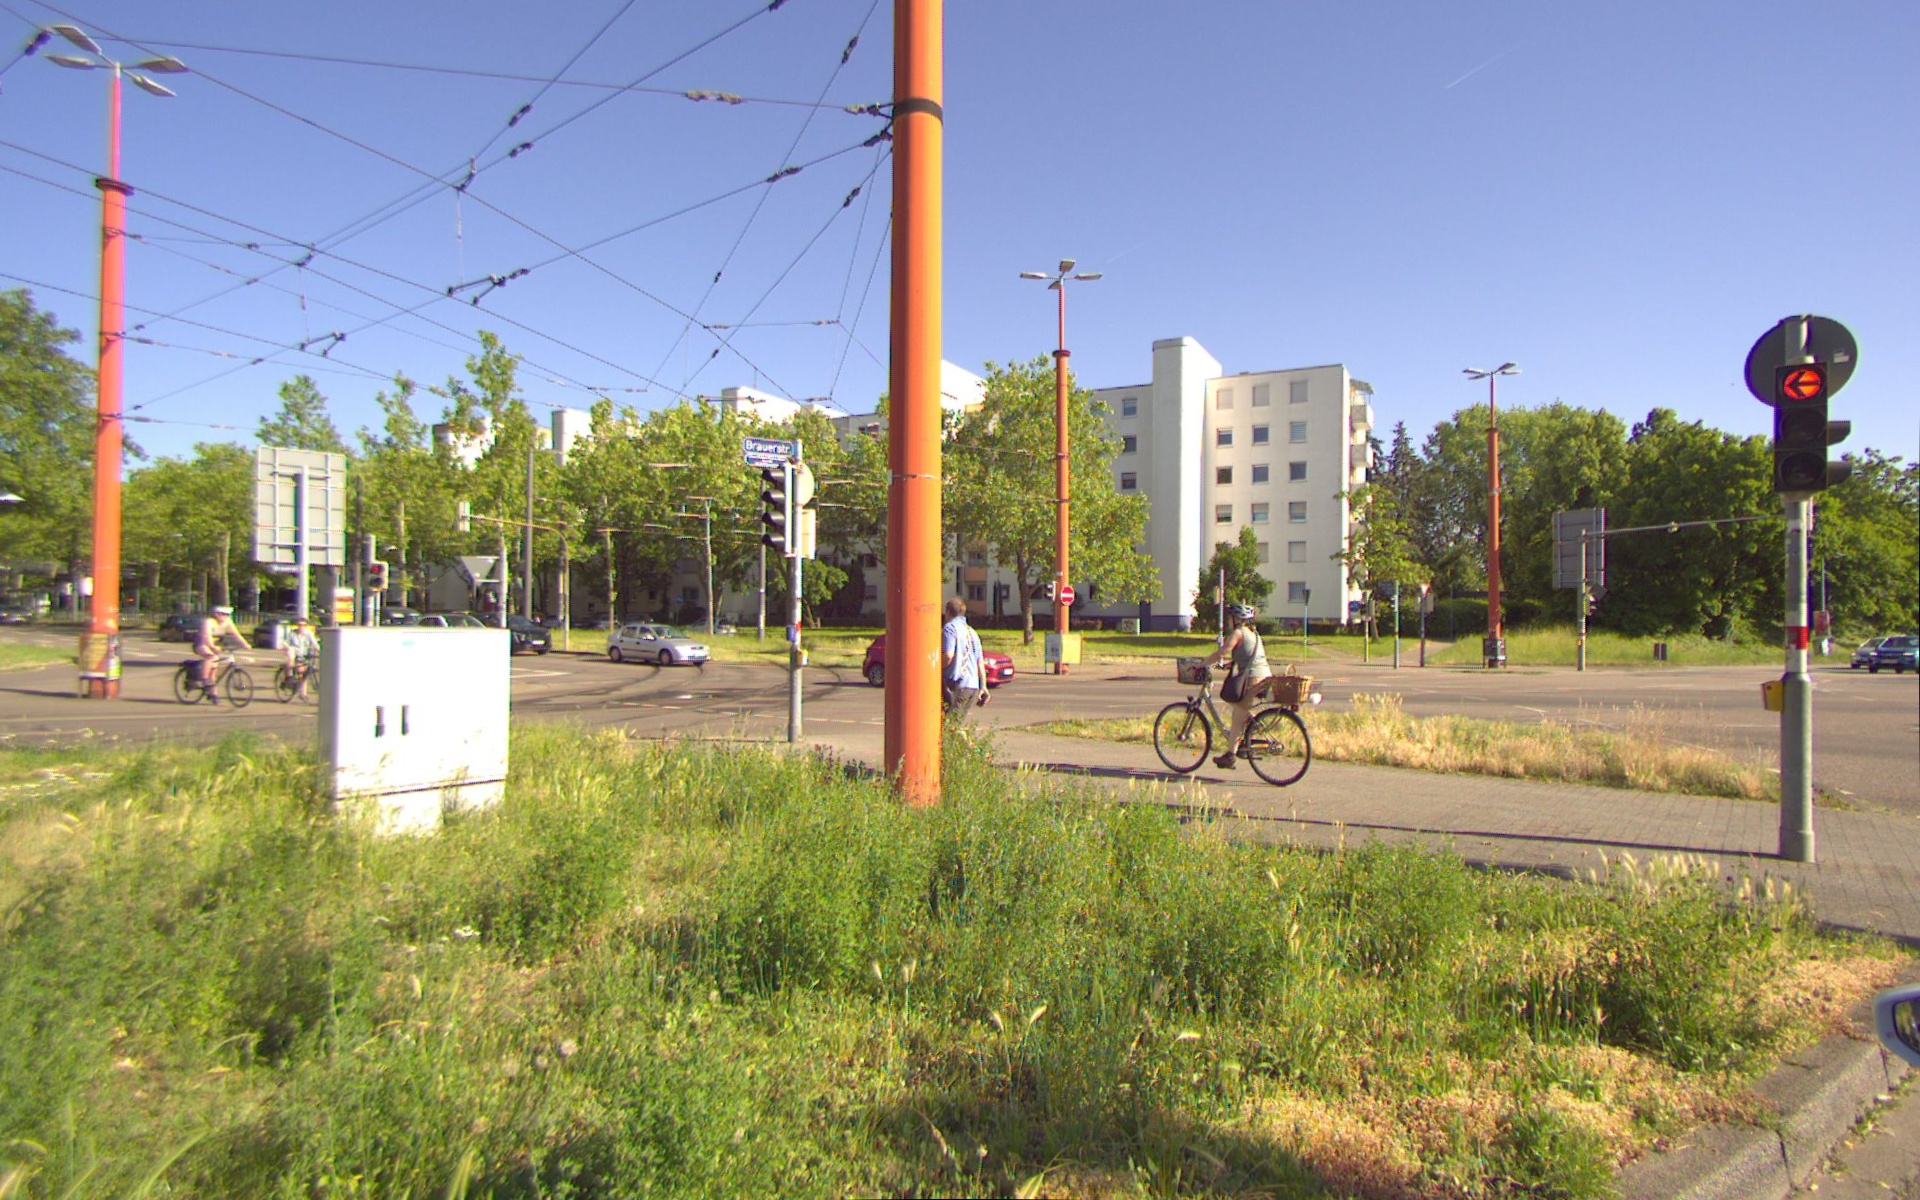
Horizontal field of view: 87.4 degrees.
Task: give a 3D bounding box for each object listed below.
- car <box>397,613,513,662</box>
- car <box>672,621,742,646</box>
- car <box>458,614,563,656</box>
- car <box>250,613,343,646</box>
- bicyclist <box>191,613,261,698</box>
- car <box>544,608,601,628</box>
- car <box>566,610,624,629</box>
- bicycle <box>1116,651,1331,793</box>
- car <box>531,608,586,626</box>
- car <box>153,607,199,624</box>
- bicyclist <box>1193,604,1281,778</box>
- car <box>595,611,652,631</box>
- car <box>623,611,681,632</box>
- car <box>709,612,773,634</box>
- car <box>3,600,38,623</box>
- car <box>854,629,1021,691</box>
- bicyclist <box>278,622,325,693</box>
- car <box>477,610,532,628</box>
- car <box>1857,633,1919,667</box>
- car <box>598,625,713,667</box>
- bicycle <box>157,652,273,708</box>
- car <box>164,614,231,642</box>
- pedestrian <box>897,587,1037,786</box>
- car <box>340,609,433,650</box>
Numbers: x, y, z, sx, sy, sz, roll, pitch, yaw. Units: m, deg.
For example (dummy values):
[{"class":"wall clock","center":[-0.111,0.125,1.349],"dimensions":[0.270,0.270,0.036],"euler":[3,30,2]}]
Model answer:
[{"class":"car","center":[-18.510,1.339,36.810],"dimensions":[4.177,1.658,1.825],"euler":[0,-1,30]},{"class":"car","center":[-15.372,2.037,61.044],"dimensions":[3.925,1.416,1.755],"euler":[0,-1,26]},{"class":"car","center":[-18.002,1.366,40.186],"dimensions":[4.189,1.566,1.853],"euler":[0,-1,33]},{"class":"car","center":[-29.254,1.272,44.246],"dimensions":[4.287,1.368,1.761],"euler":[0,-1,32]},{"class":"bicyclist","center":[-13.818,1.030,18.934],"dimensions":[0.752,1.565,0.732],"euler":[1,-1,-1]},{"class":"car","center":[-30.063,1.413,78.080],"dimensions":[3.934,1.428,1.794],"euler":[1,-1,-16]},{"class":"car","center":[-27.564,1.480,75.925],"dimensions":[3.934,1.428,1.794],"euler":[1,-1,-16]},{"class":"bicycle","center":[2.555,1.135,9.837],"dimensions":[1.915,1.210,0.690],"euler":[0,-1,33]},{"class":"car","center":[-31.925,1.363,79.977],"dimensions":[3.935,1.428,1.794],"euler":[1,-1,-17]},{"class":"car","center":[-93.973,1.871,120.465],"dimensions":[1.969,2.040,3.984],"euler":[0,-1,38]},{"class":"bicyclist","center":[2.695,0.849,9.751],"dimensions":[0.651,1.605,0.671],"euler":[0,-1,33]},{"class":"car","center":[-24.983,1.551,74.701],"dimensions":[3.934,1.428,1.794],"euler":[1,-1,-16]},{"class":"car","center":[-22.243,1.542,72.650],"dimensions":[3.934,1.428,1.794],"euler":[1,-1,-16]},{"class":"car","center":[-14.530,1.546,66.846],"dimensions":[1.770,1.428,3.987],"euler":[0,-1,35]},{"class":"car","center":[-73.884,0.904,79.003],"dimensions":[1.838,1.730,4.255],"euler":[1,-2,-41]},{"class":"car","center":[-0.583,1.497,25.898],"dimensions":[3.989,1.454,1.684],"euler":[0,-1,26]},{"class":"bicyclist","center":[-13.103,1.138,19.991],"dimensions":[0.616,1.399,0.443],"euler":[1,-1,-1]},{"class":"car","center":[-38.018,1.561,83.890],"dimensions":[3.935,1.428,1.794],"euler":[1,-1,-17]},{"class":"car","center":[37.167,1.960,39.622],"dimensions":[3.571,1.260,1.730],"euler":[1,-1,-31]},{"class":"car","center":[-10.761,1.591,35.449],"dimensions":[3.925,1.363,1.486],"euler":[0,-1,26]},{"class":"bicycle","center":[-14.016,1.501,18.923],"dimensions":[1.612,0.974,0.685],"euler":[2,-1,-1]},{"class":"car","center":[-38.954,1.395,51.307],"dimensions":[4.296,1.368,1.758],"euler":[0,-2,39]},{"class":"pedestrian","center":[0.074,0.801,9.833],"dimensions":[0.973,1.817,0.951],"euler":[0,-1,38]},{"class":"car","center":[-25.867,1.316,45.281],"dimensions":[4.232,1.730,1.848],"euler":[0,-1,32]}]
